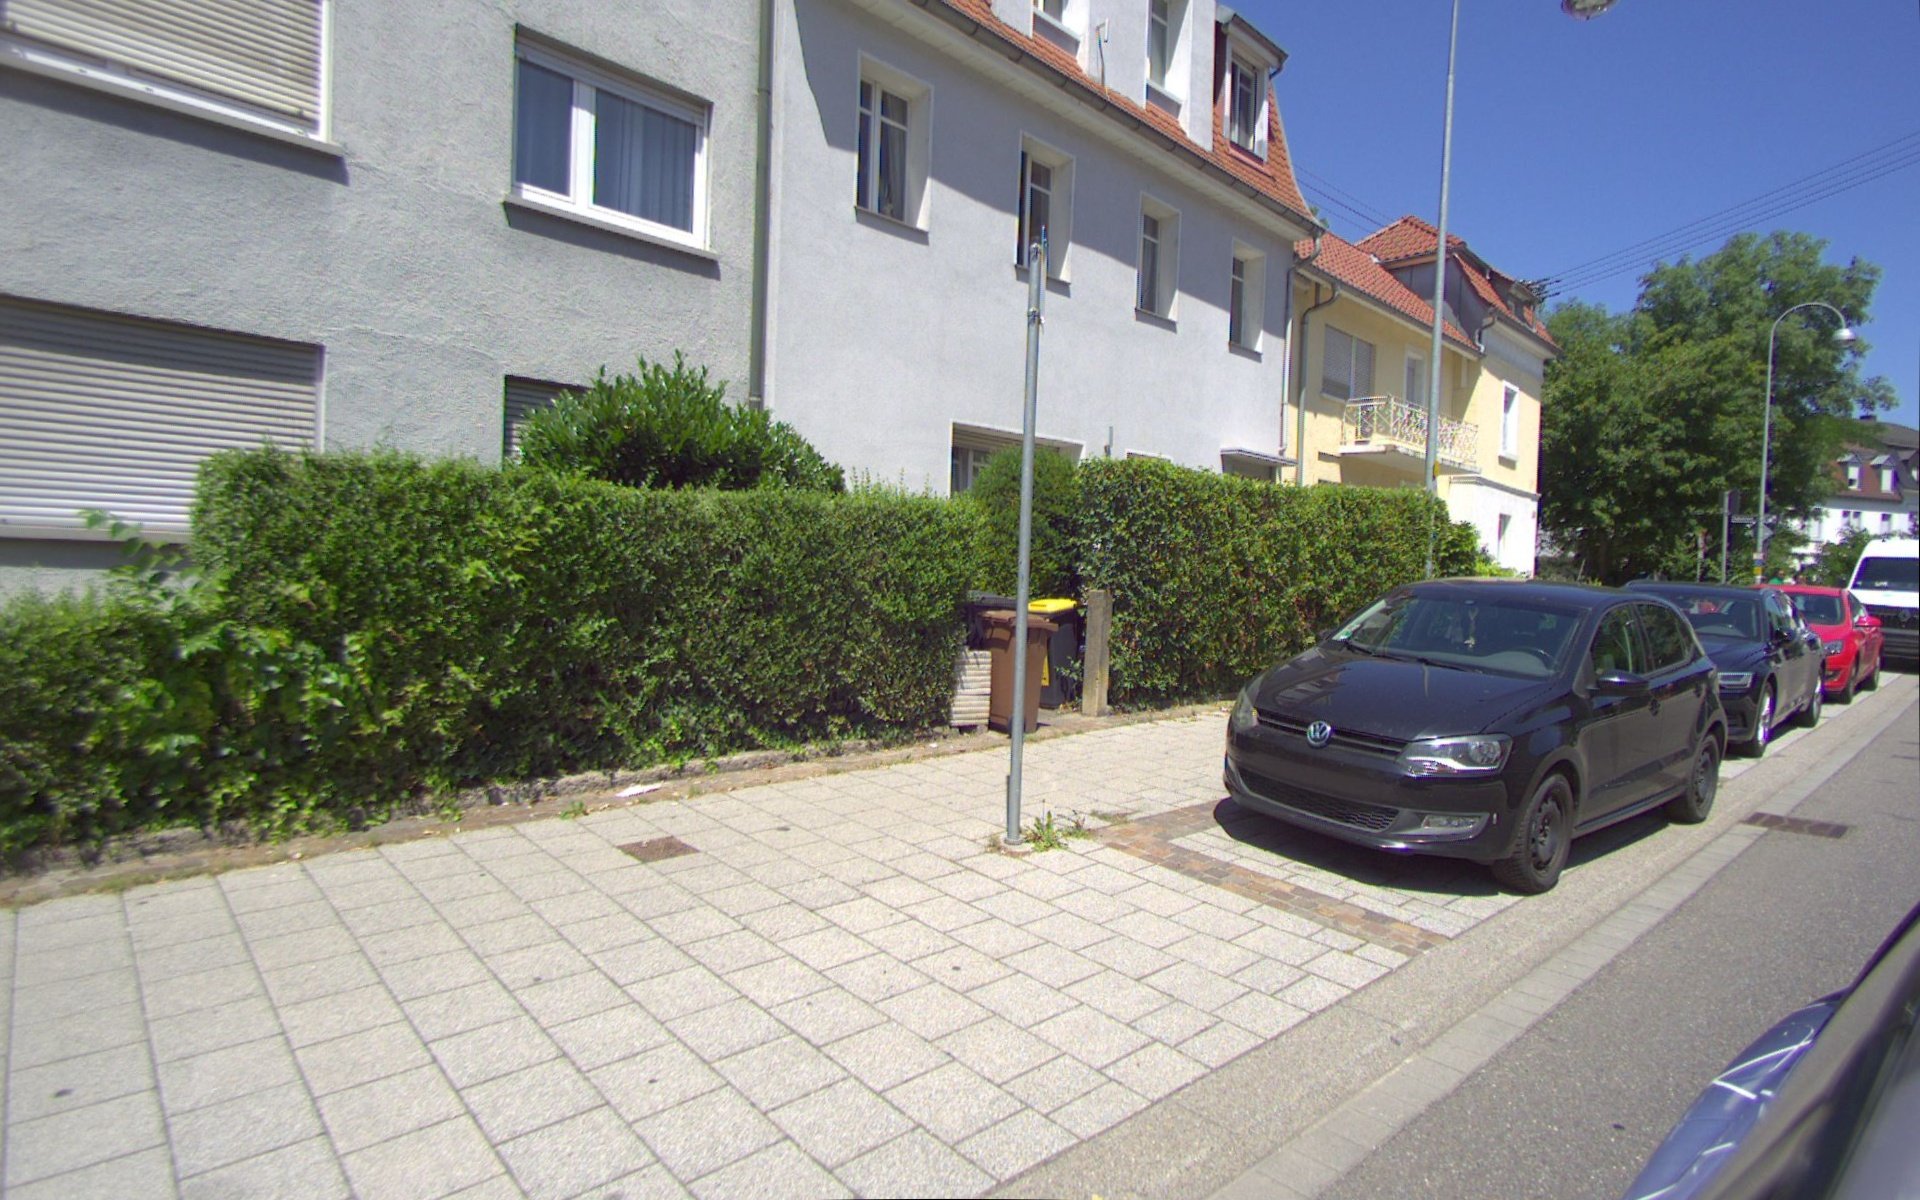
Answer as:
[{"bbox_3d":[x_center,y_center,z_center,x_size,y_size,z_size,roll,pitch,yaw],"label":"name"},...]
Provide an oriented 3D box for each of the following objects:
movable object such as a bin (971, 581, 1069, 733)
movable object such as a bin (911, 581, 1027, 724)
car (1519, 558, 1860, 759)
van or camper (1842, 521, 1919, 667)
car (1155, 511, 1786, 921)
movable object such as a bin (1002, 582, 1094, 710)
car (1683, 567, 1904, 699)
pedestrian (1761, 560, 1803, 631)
[{"bbox_3d":[0.465,0.418,7.886,0.546,1.117,0.488,0,2,-41],"label":"movable object such as a bin"},{"bbox_3d":[0.076,0.402,8.344,0.762,1.098,0.555,0,2,-40],"label":"movable object such as a bin"},{"bbox_3d":[7.580,0.435,10.322,4.640,1.492,1.807,0,6,-42],"label":"car"},{"bbox_3d":[18.904,-0.145,19.401,6.070,2.496,2.113,-1,5,-42],"label":"van or camper"},{"bbox_3d":[3.182,0.433,6.013,3.926,1.652,1.734,1,4,-38],"label":"car"},{"bbox_3d":[0.807,0.400,9.281,0.660,1.098,0.501,0,2,-40],"label":"movable object such as a bin"},{"bbox_3d":[11.848,0.376,14.292,4.079,1.548,1.806,0,3,-42],"label":"car"},{"bbox_3d":[20.698,-0.128,25.500,0.517,1.726,0.796,6,4,28],"label":"pedestrian"}]
